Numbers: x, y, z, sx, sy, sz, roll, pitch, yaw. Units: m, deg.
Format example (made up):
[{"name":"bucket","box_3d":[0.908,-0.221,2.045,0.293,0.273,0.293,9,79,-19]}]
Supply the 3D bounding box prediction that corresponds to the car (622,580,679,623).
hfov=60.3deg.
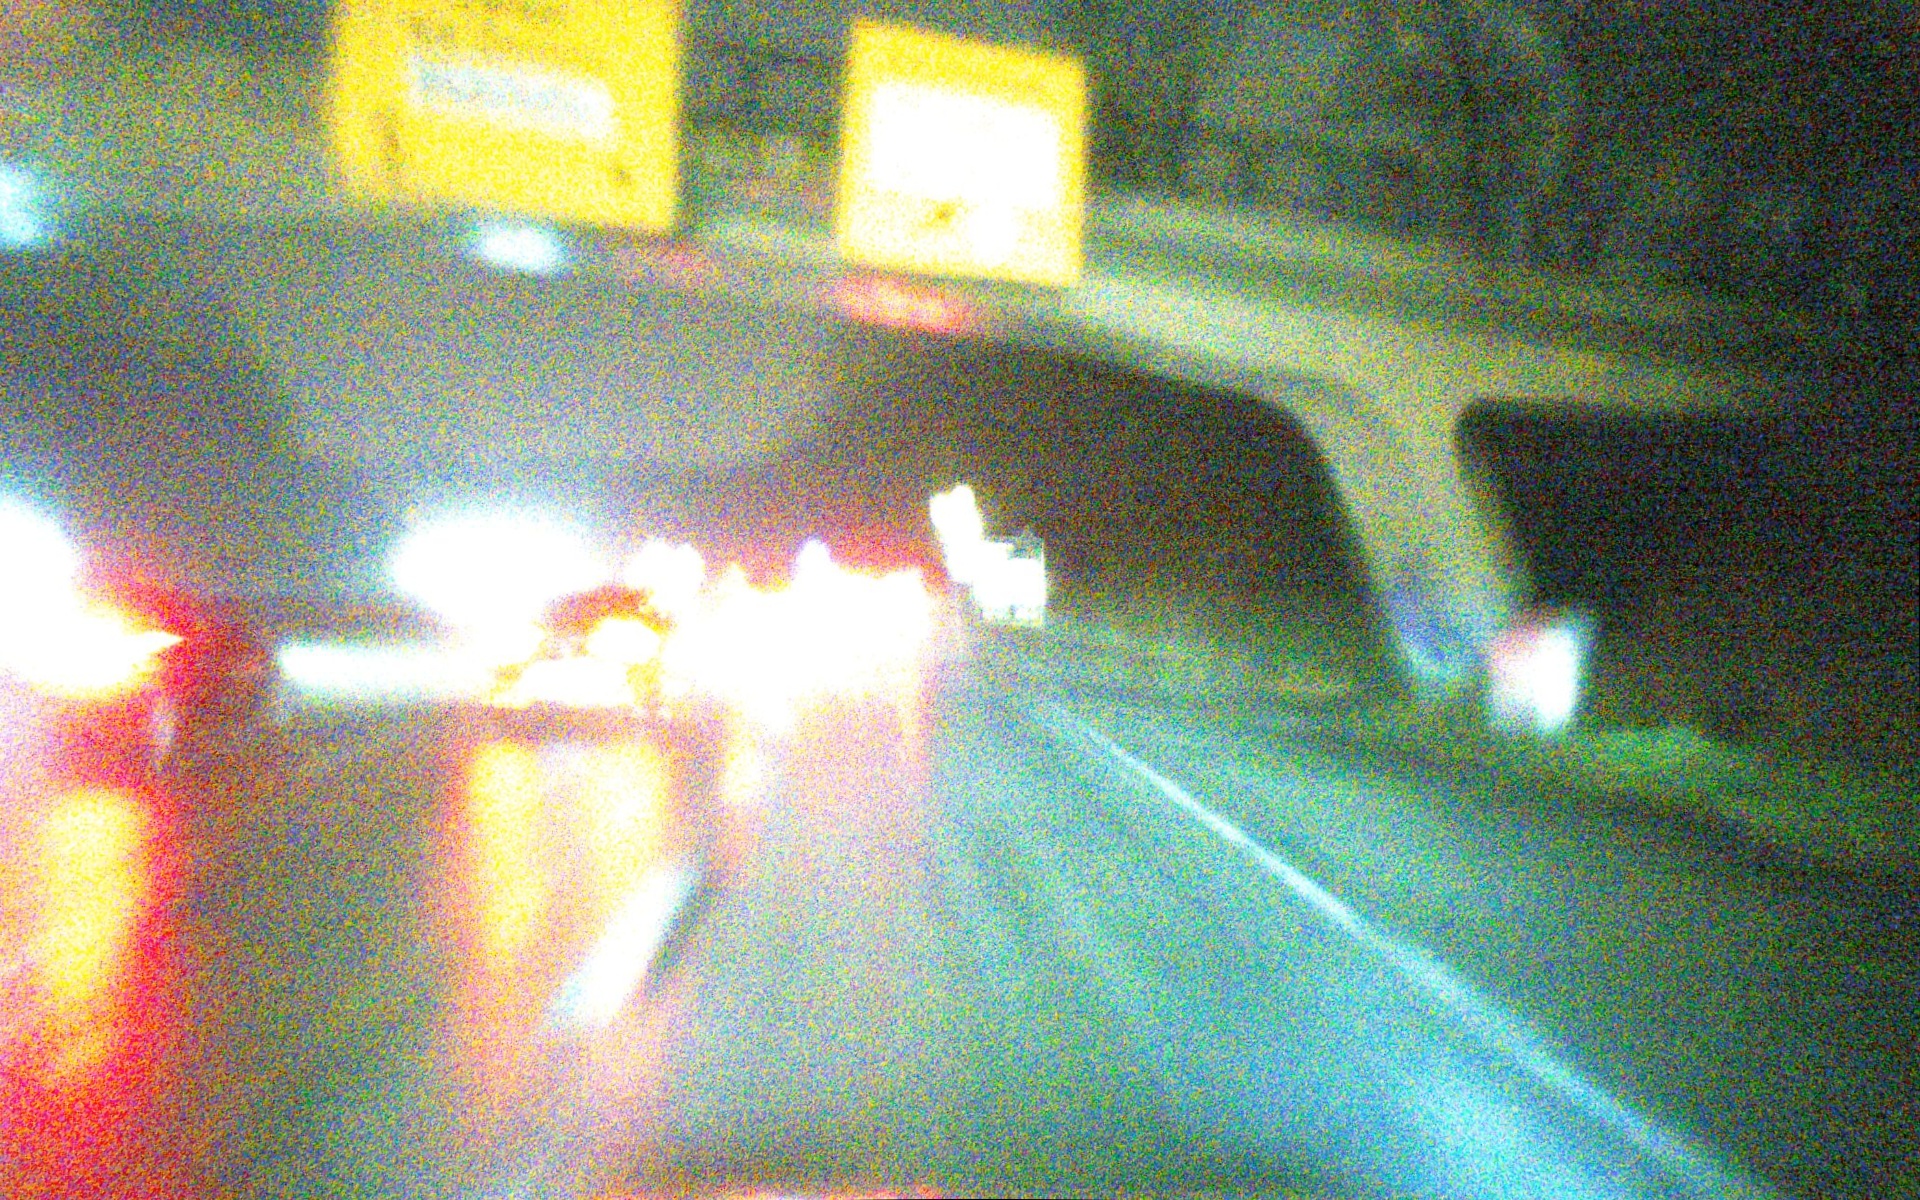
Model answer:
[{"name":"car","box_3d":[-11.922,0.066,63.934,1.856,1.577,3.994,1,0,-7]}]

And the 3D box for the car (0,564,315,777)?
[{"name":"car","box_3d":[-7.400,0.493,14.520,1.732,1.543,4.912,1,0,-3]}]

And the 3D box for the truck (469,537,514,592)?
[{"name":"truck","box_3d":[-31.462,-2.367,111.215,2.559,3.518,4.625,1,0,-13]}]

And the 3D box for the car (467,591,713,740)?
[{"name":"car","box_3d":[-3.931,0.662,18.251,1.923,1.405,4.047,2,-1,-3]}]
